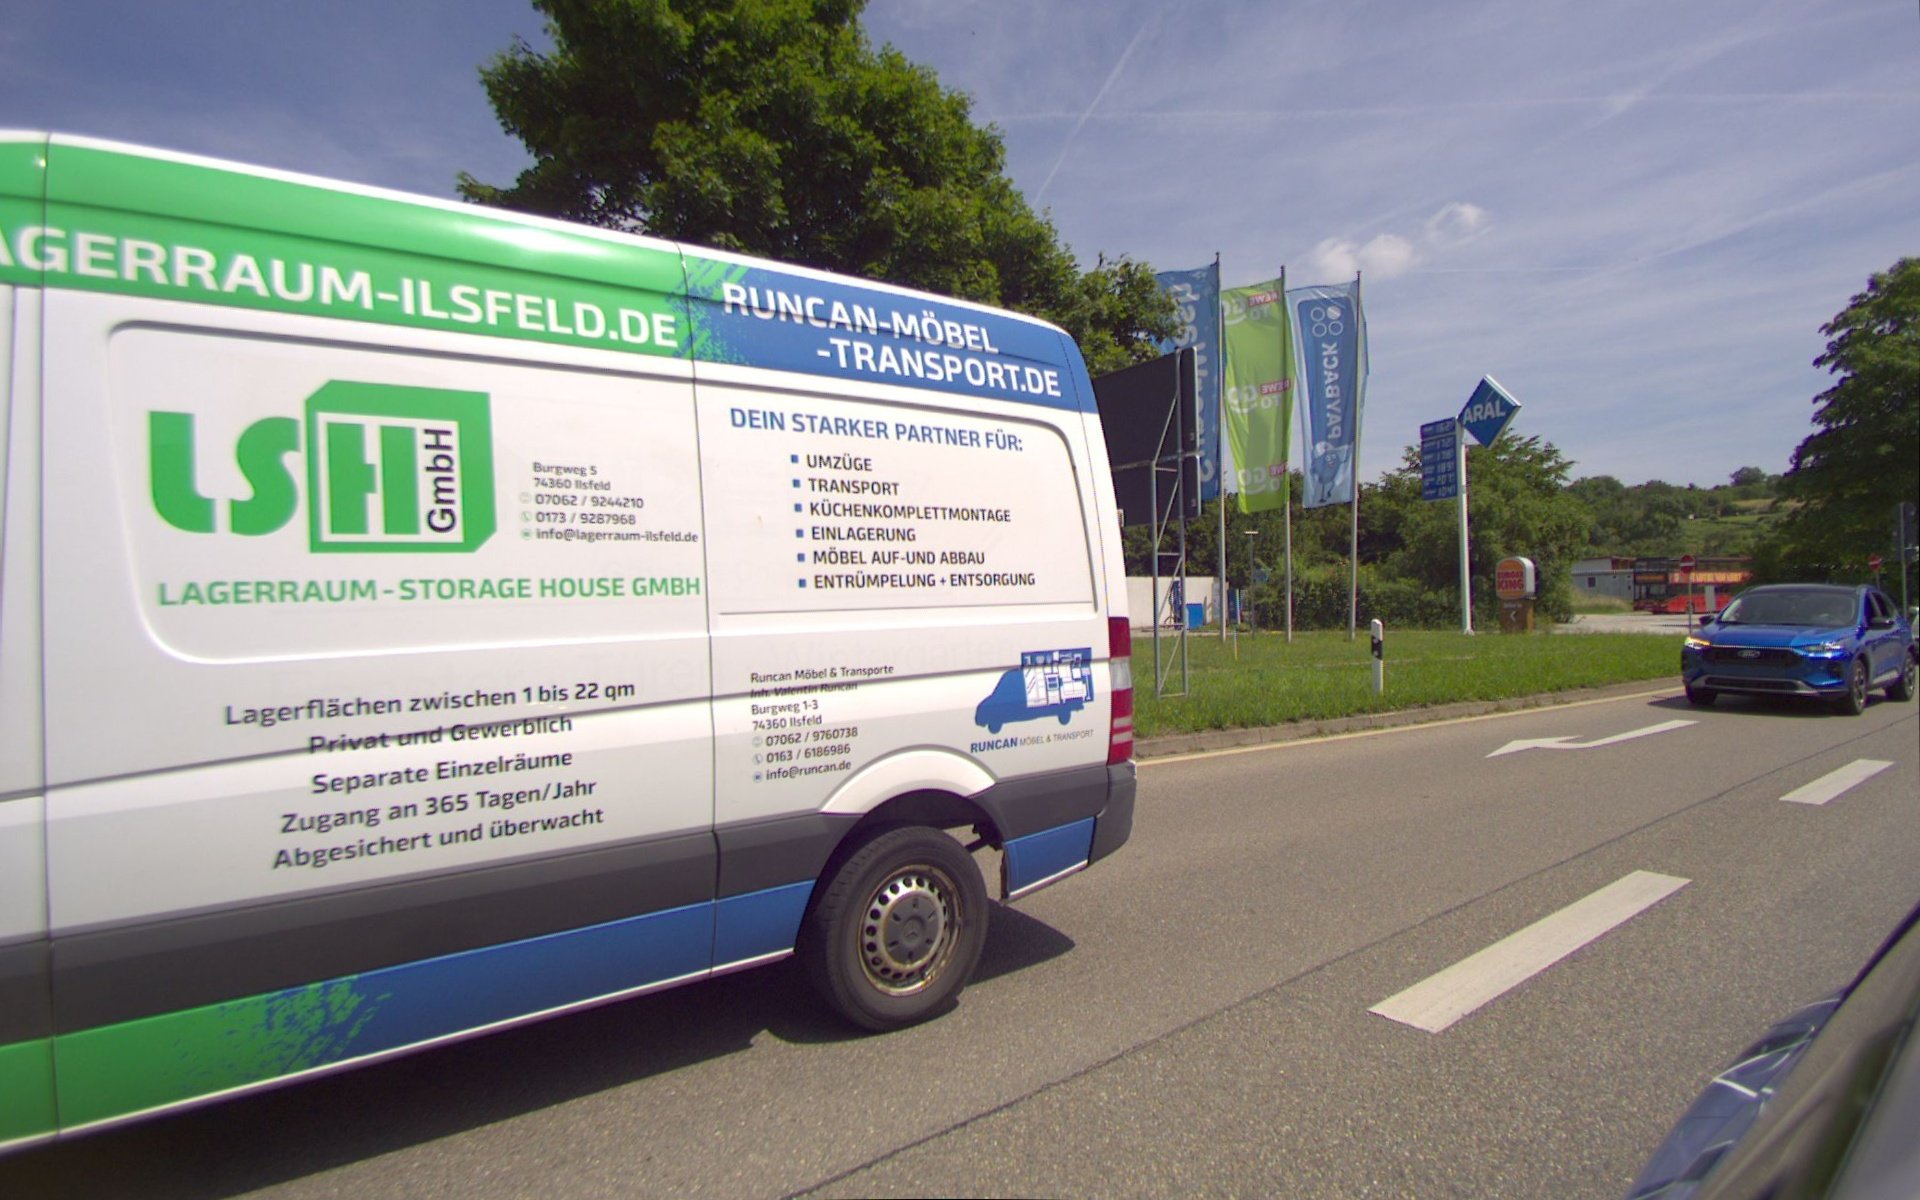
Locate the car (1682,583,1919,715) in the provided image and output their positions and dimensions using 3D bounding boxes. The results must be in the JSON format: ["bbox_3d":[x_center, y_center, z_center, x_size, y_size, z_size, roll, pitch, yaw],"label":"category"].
[{"bbox_3d":[11.923,0.562,14.102,4.306,1.578,1.784,-1,0,-36],"label":"car"}]

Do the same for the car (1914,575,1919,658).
[{"bbox_3d":[22.247,0.303,21.661,4.442,1.713,1.867,-2,1,-36],"label":"car"}]

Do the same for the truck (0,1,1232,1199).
[{"bbox_3d":[-1.825,0.135,3.495,5.831,2.772,2.072,-1,-1,-36],"label":"truck"}]
